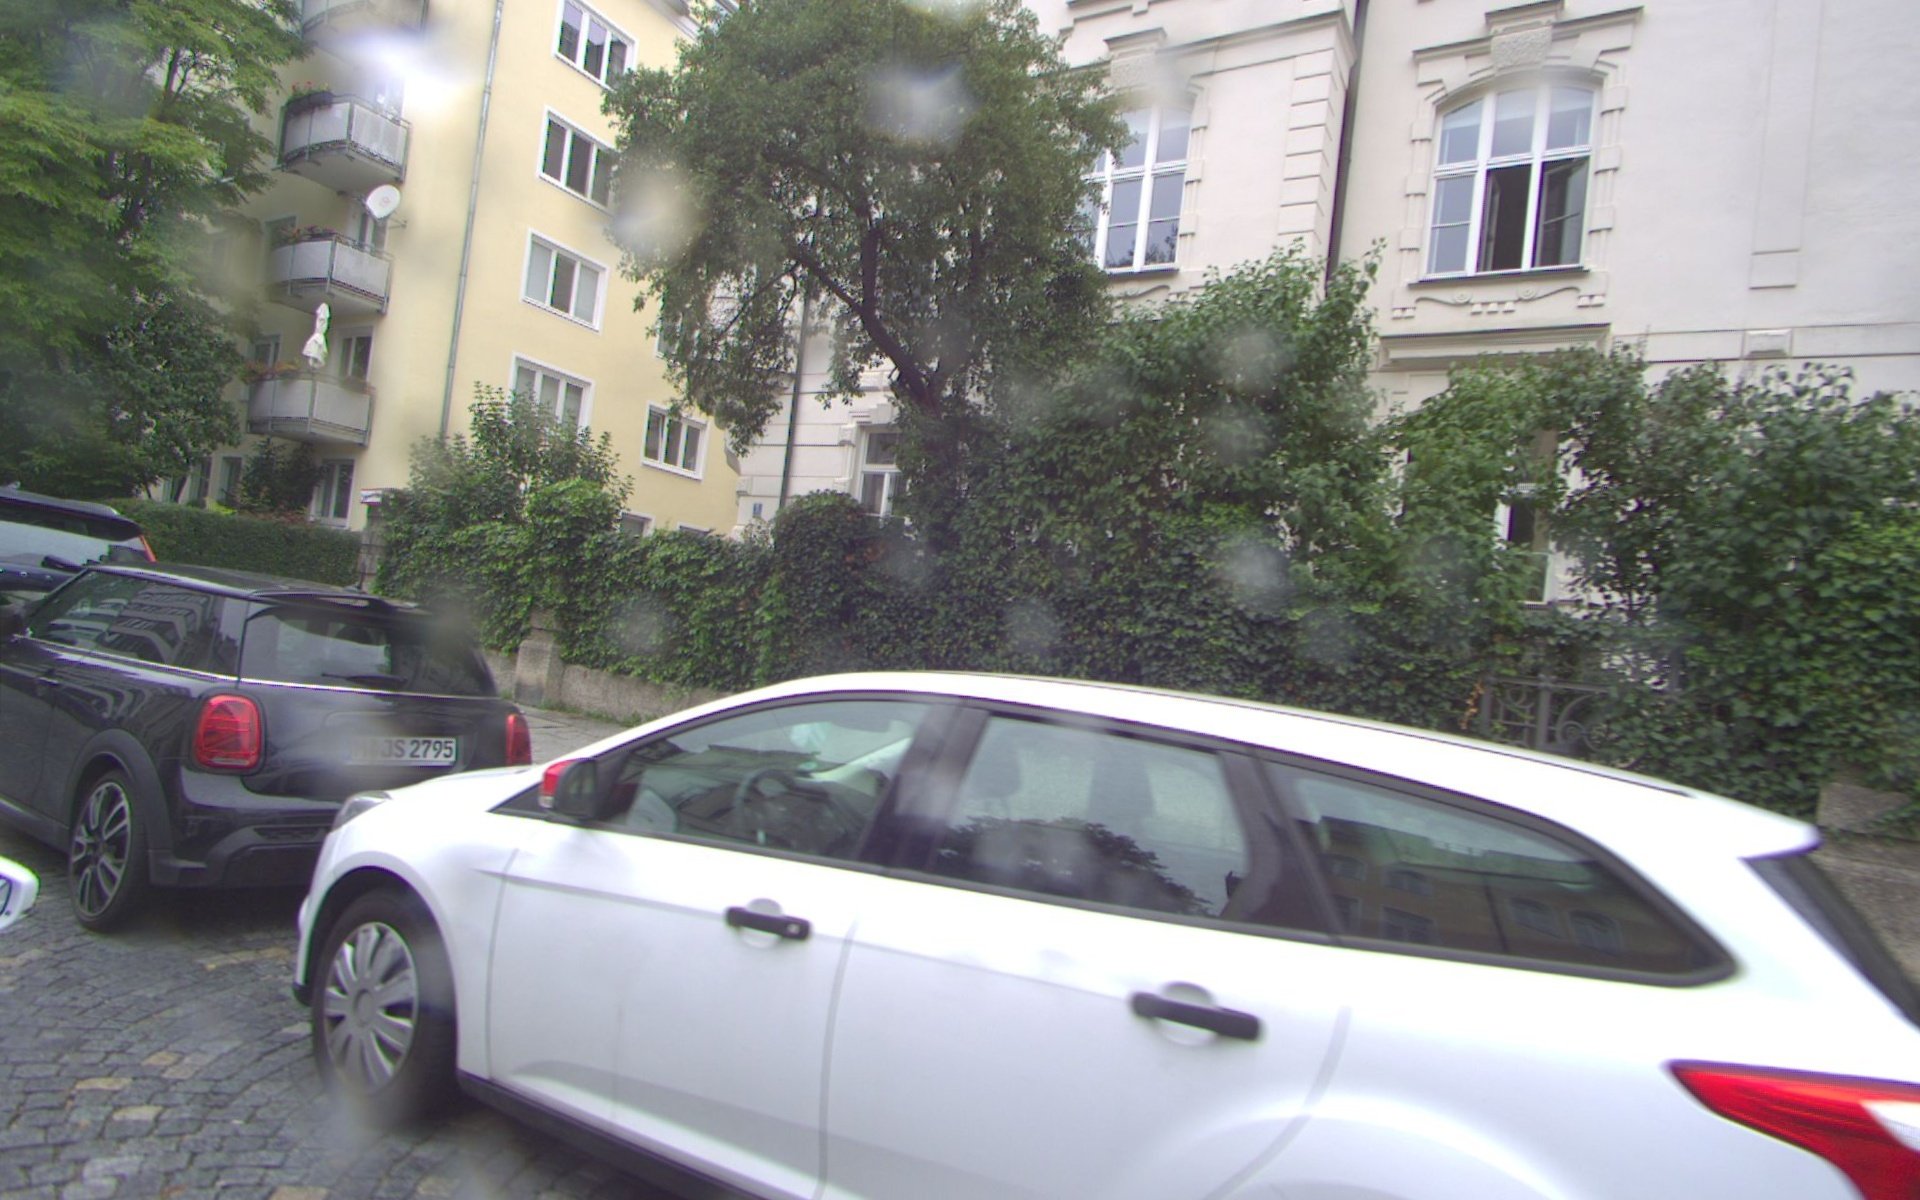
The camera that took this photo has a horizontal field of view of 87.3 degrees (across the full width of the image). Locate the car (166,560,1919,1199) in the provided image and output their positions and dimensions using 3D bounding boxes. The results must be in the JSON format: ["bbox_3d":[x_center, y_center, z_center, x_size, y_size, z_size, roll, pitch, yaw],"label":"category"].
[{"bbox_3d":[-0.113,0.872,2.967,4.315,1.445,1.780,5,-4,28],"label":"car"}]

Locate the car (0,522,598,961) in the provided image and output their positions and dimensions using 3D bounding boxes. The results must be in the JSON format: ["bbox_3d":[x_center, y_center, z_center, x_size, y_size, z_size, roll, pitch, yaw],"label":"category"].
[{"bbox_3d":[-3.991,0.503,5.277,3.900,1.467,1.689,5,-5,31],"label":"car"}]

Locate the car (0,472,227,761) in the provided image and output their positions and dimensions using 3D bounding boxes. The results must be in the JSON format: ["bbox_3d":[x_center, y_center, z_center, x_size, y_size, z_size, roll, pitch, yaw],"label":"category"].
[{"bbox_3d":[-7.957,-0.059,7.614,4.871,1.778,1.968,5,-4,31],"label":"car"}]
